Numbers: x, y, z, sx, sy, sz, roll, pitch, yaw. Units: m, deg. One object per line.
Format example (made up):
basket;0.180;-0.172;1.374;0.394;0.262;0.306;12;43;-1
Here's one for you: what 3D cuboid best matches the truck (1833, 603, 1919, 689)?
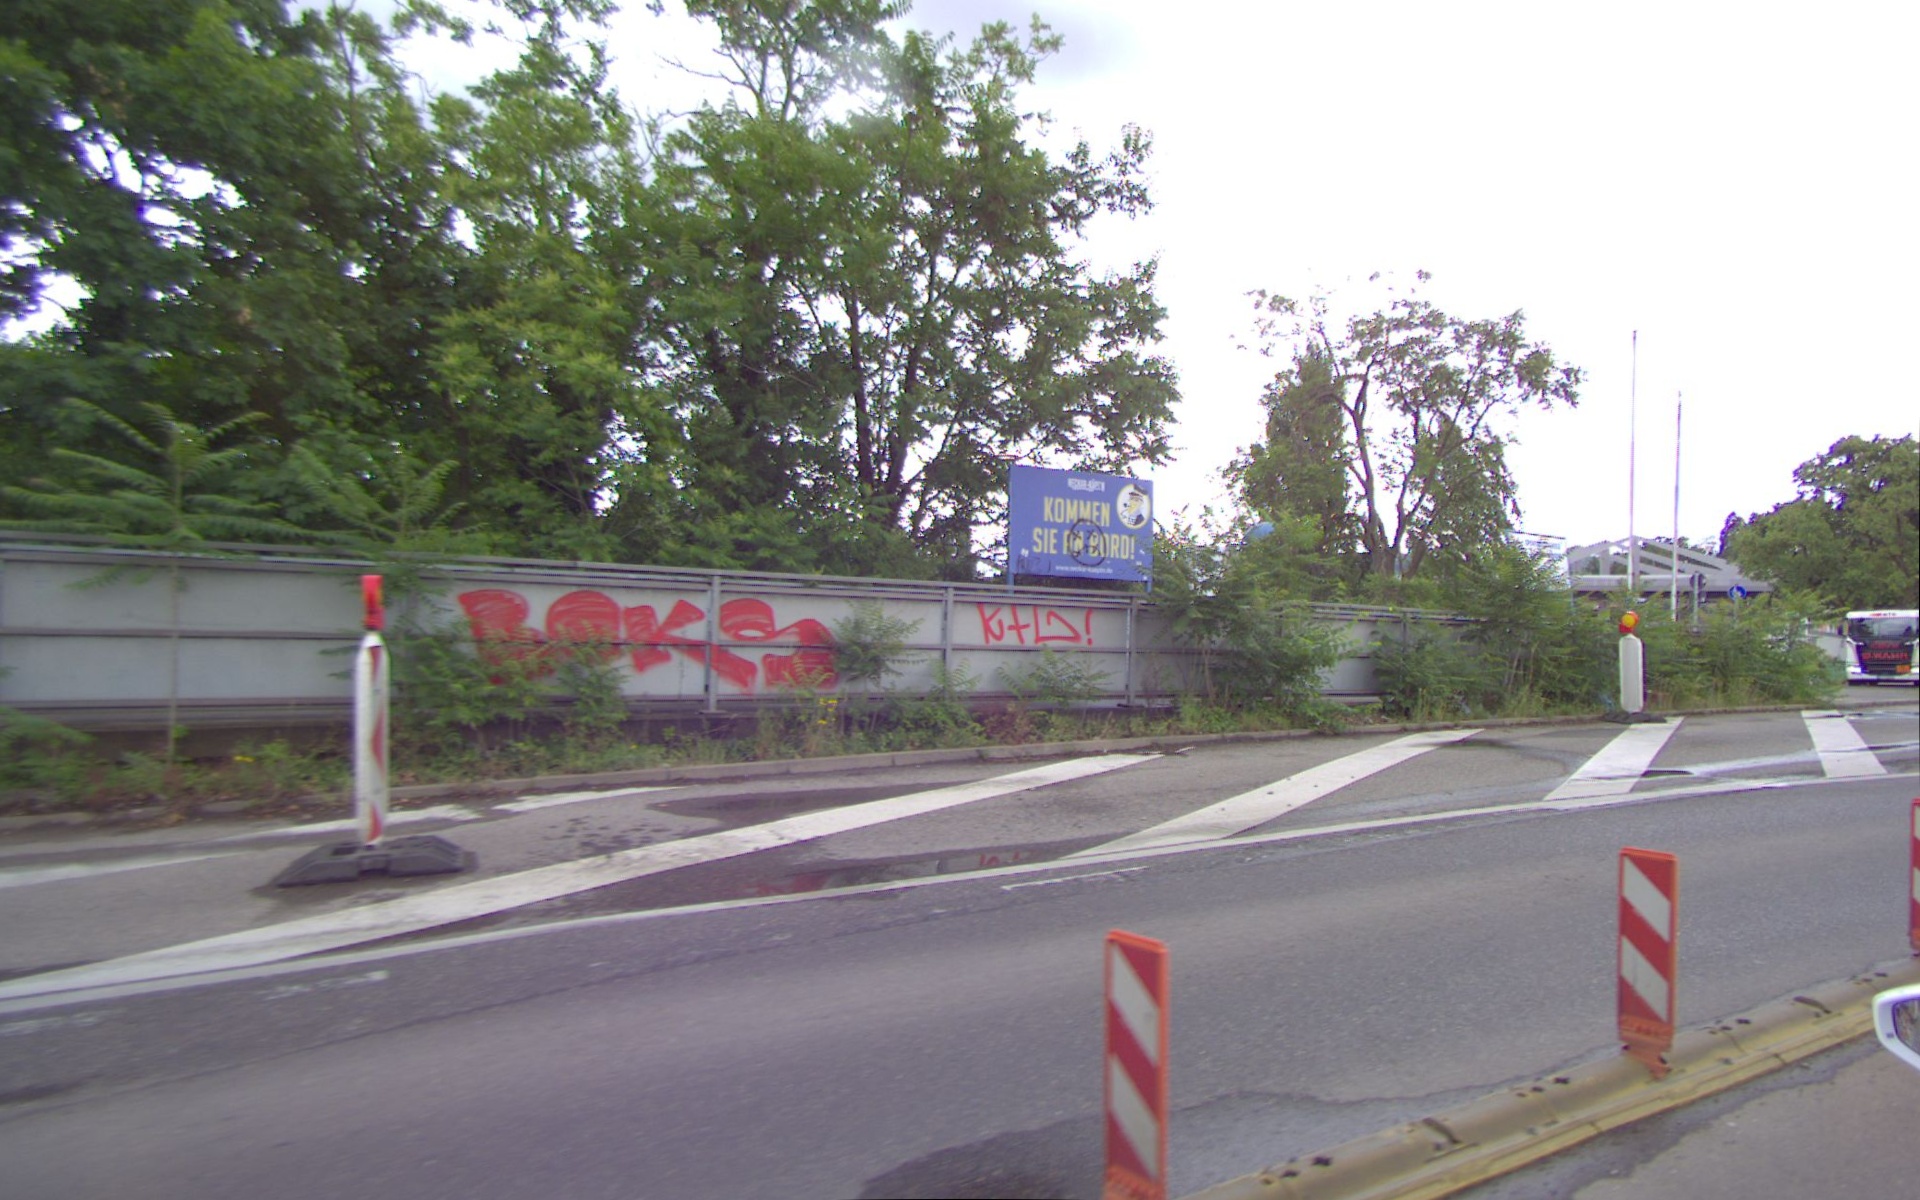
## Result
truck;39.909;1.929;43.235;8.421;3.380;2.765;2;-2;-44
